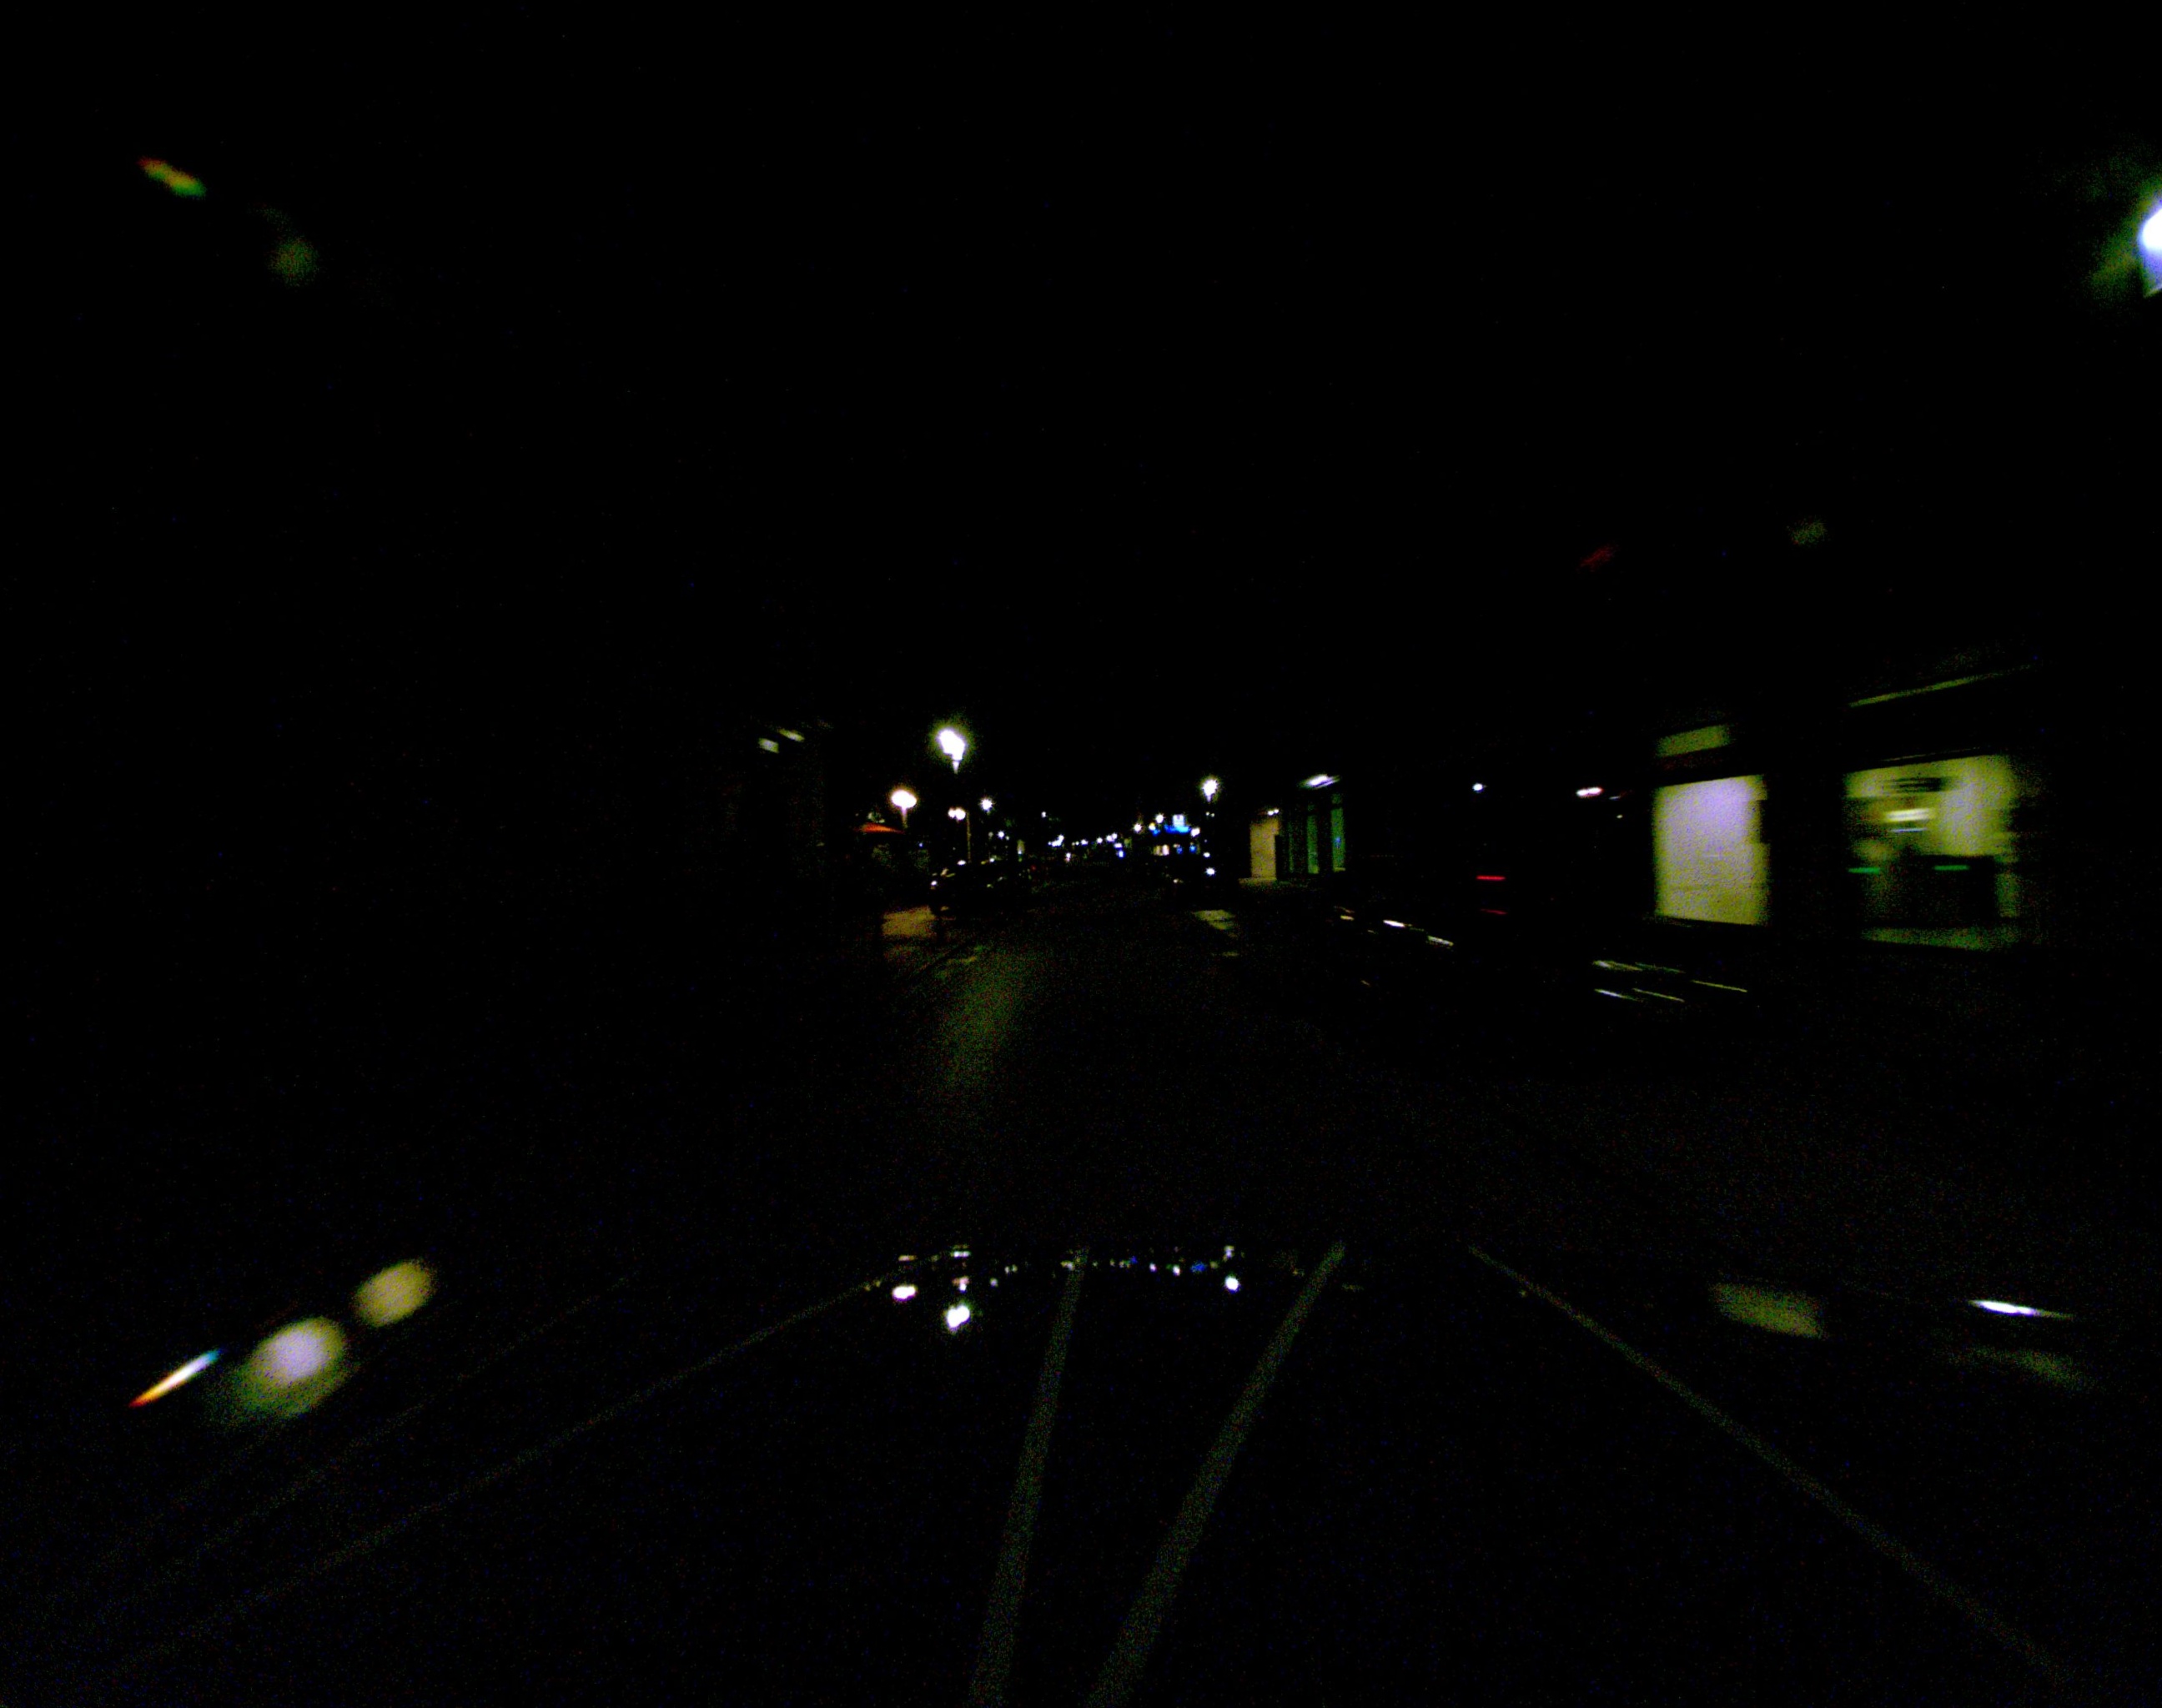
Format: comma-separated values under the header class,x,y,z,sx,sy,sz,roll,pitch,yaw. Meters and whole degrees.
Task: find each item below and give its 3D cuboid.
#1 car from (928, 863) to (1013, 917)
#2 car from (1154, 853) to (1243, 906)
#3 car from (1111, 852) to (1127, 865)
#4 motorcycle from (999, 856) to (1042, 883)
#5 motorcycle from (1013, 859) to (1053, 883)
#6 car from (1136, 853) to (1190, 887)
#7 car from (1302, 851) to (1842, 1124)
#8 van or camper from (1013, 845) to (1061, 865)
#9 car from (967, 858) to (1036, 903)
class,x,y,z,sx,sy,sz,roll,pitch,yaw
car,-3.172,0.991,22.619,1.665,1.369,4.104,0,0,4
car,3.709,0.760,24.757,1.850,1.455,4.621,-3,0,-4
car,4.731,0.556,95.482,1.655,1.417,4.014,-4,0,-1
motorcycle,-3.227,0.843,40.530,2.266,1.383,0.662,-1,1,25
motorcycle,-2.617,0.932,41.325,2.165,1.290,0.516,-1,1,28
car,3.871,0.725,36.661,1.905,1.462,4.524,-2,0,-2
car,3.472,0.767,6.554,1.802,1.469,4.321,-3,0,0
van or camper,-5.914,0.082,103.089,6.061,2.518,2.157,-2,0,-30
car,-2.817,0.895,27.781,1.757,1.455,4.467,0,0,4
